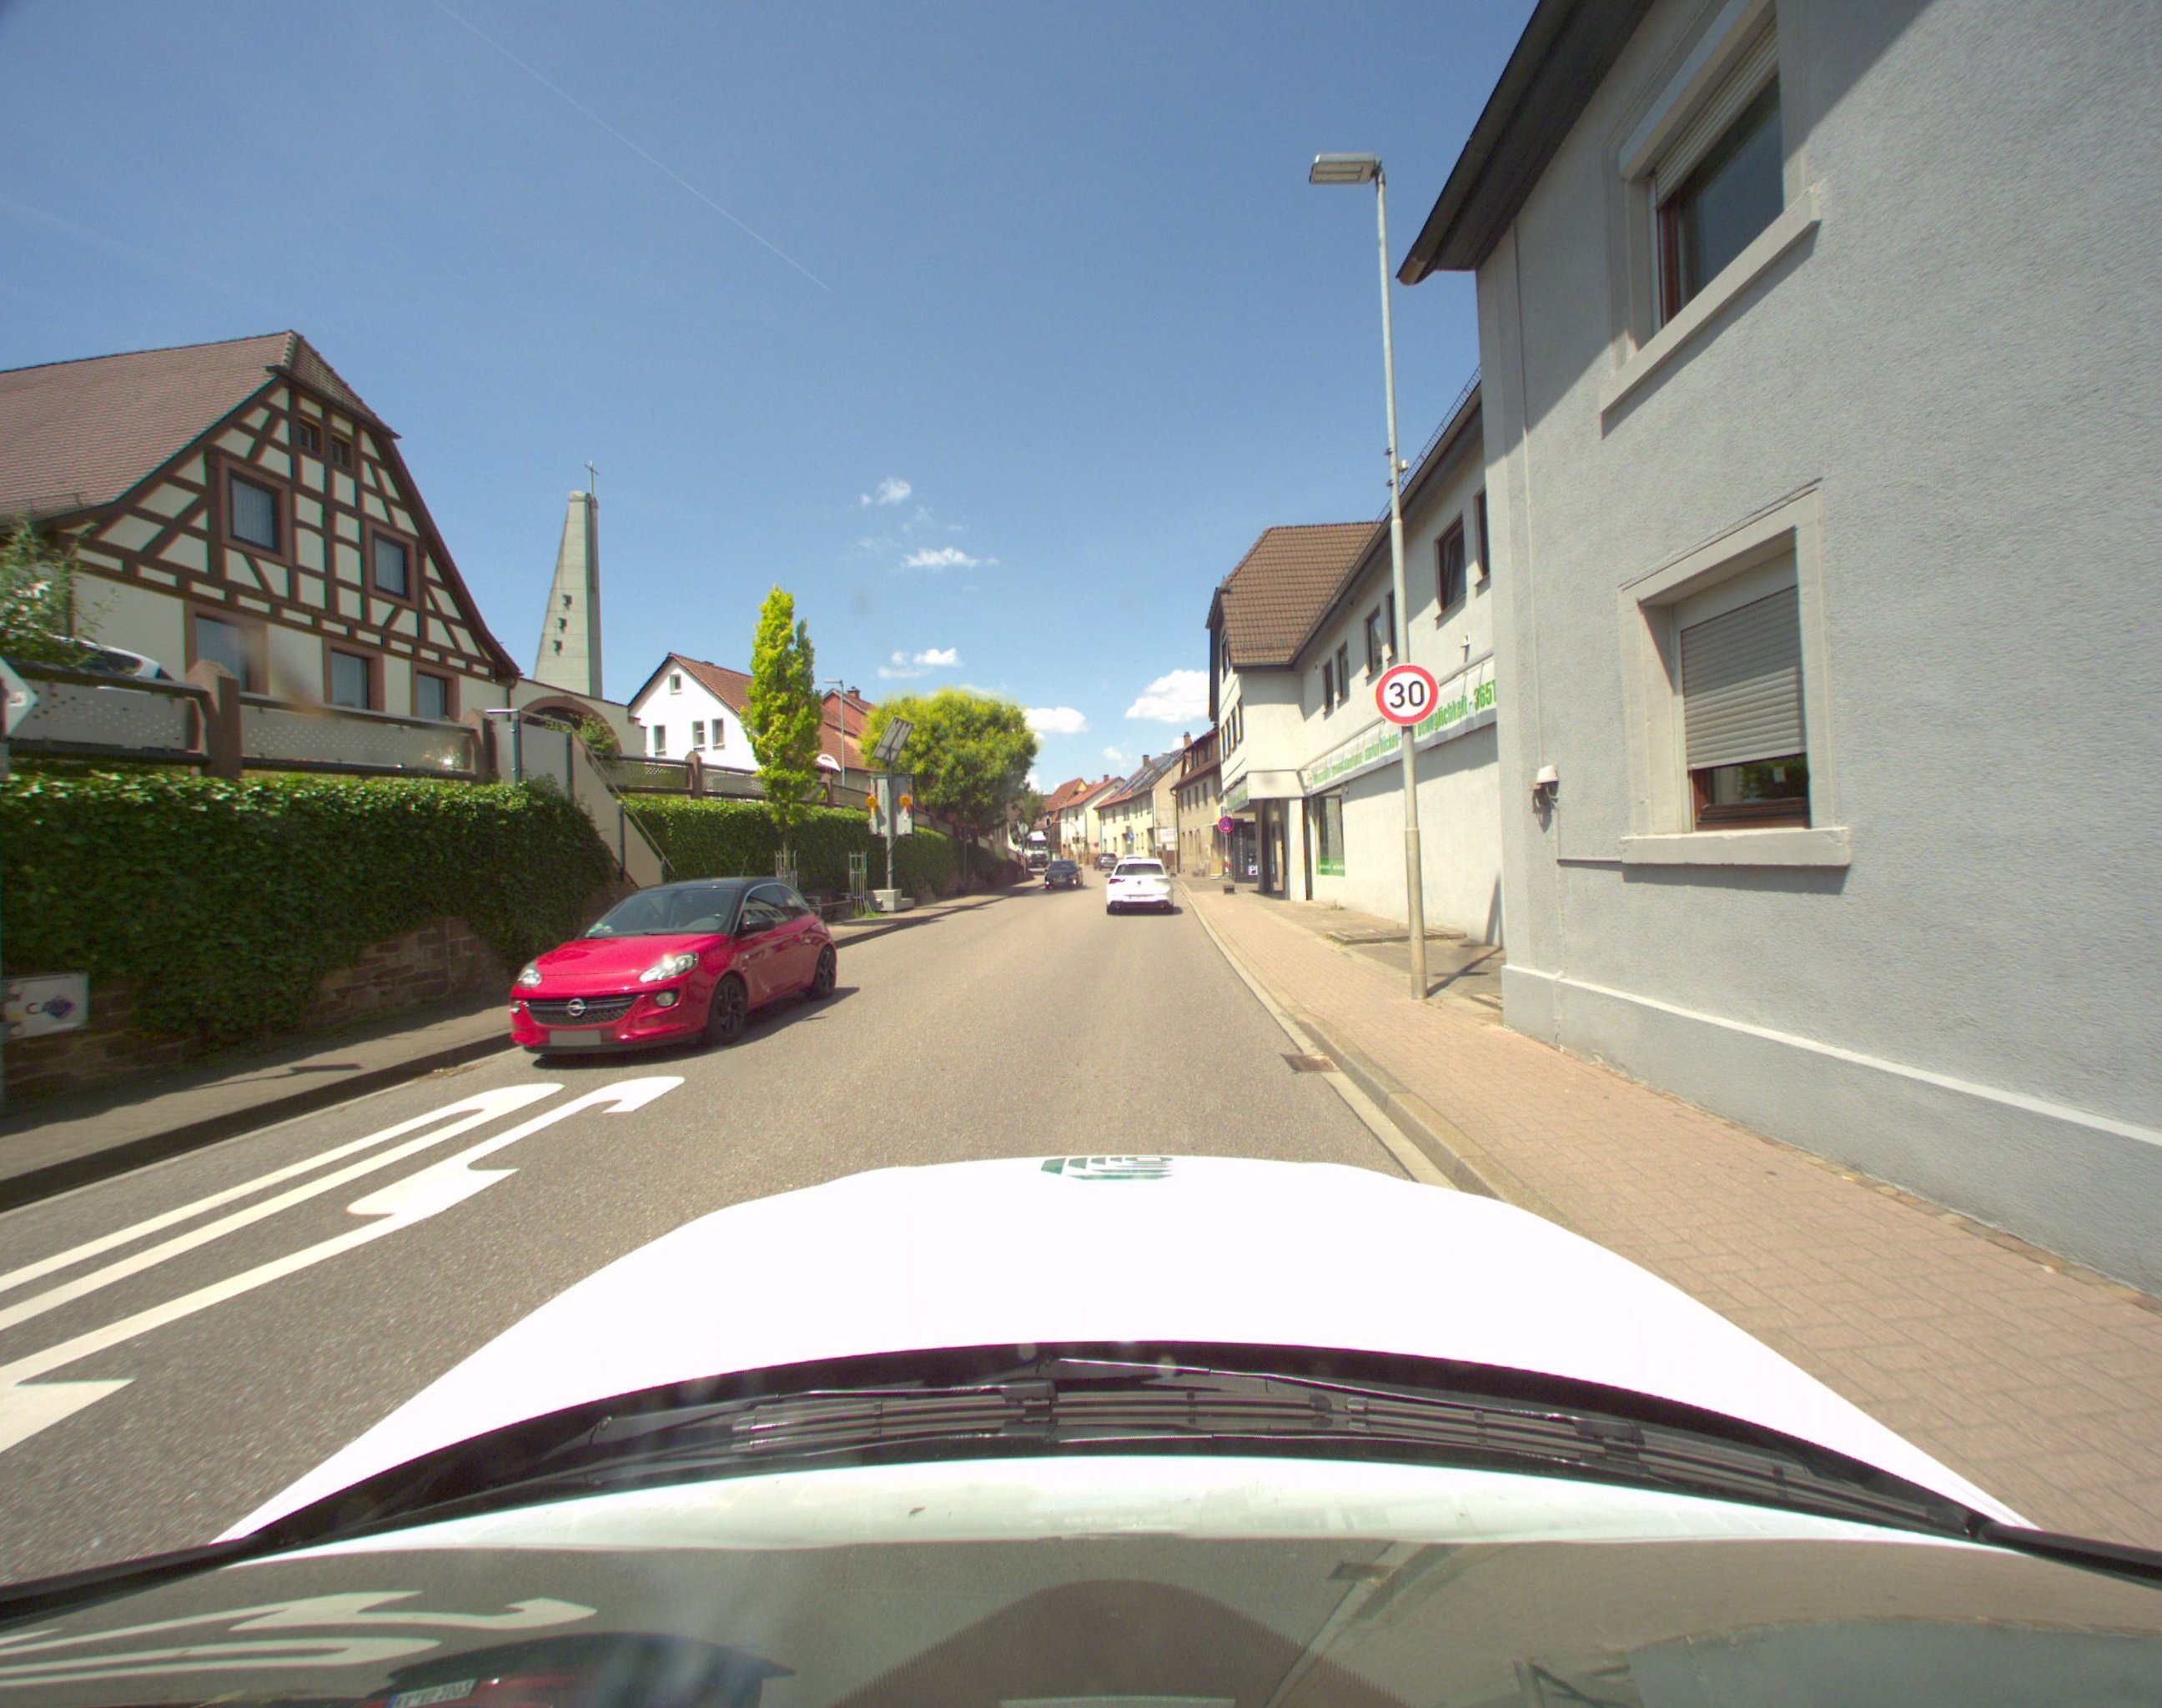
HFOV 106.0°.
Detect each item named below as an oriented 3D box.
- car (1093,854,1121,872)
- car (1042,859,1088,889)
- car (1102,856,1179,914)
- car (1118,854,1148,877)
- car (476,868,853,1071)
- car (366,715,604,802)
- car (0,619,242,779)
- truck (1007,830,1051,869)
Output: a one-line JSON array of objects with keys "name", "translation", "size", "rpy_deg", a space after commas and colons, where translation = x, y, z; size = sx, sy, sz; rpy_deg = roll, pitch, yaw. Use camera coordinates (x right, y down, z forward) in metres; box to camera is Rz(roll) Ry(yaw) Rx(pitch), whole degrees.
[{"name": "car", "translation": [2.255, 0.785, 71.975], "size": [1.775, 1.538, 3.987], "rpy_deg": [-1, 0, -9]}, {"name": "car", "translation": [-0.741, 0.966, 40.716], "size": [1.785, 1.377, 4.122], "rpy_deg": [-2, 0, 5]}, {"name": "car", "translation": [1.548, 0.808, 22.443], "size": [1.802, 1.468, 3.998], "rpy_deg": [0, -1, -1]}, {"name": "car", "translation": [3.407, 0.767, 54.055], "size": [1.802, 1.468, 3.999], "rpy_deg": [0, -1, 0]}, {"name": "car", "translation": [-3.787, 0.937, 8.245], "size": [1.610, 1.444, 3.804], "rpy_deg": [-3, 0, 3]}, {"name": "car", "translation": [-10.652, -1.695, 14.959], "size": [1.573, 1.361, 3.853], "rpy_deg": [-1, 5, -3]}, {"name": "car", "translation": [-10.182, -1.359, 7.173], "size": [1.573, 1.361, 3.853], "rpy_deg": [-1, 5, -3]}, {"name": "truck", "translation": [-5.881, -0.453, 89.953], "size": [2.653, 4.029, 9.135], "rpy_deg": [-1, 0, -18]}]
